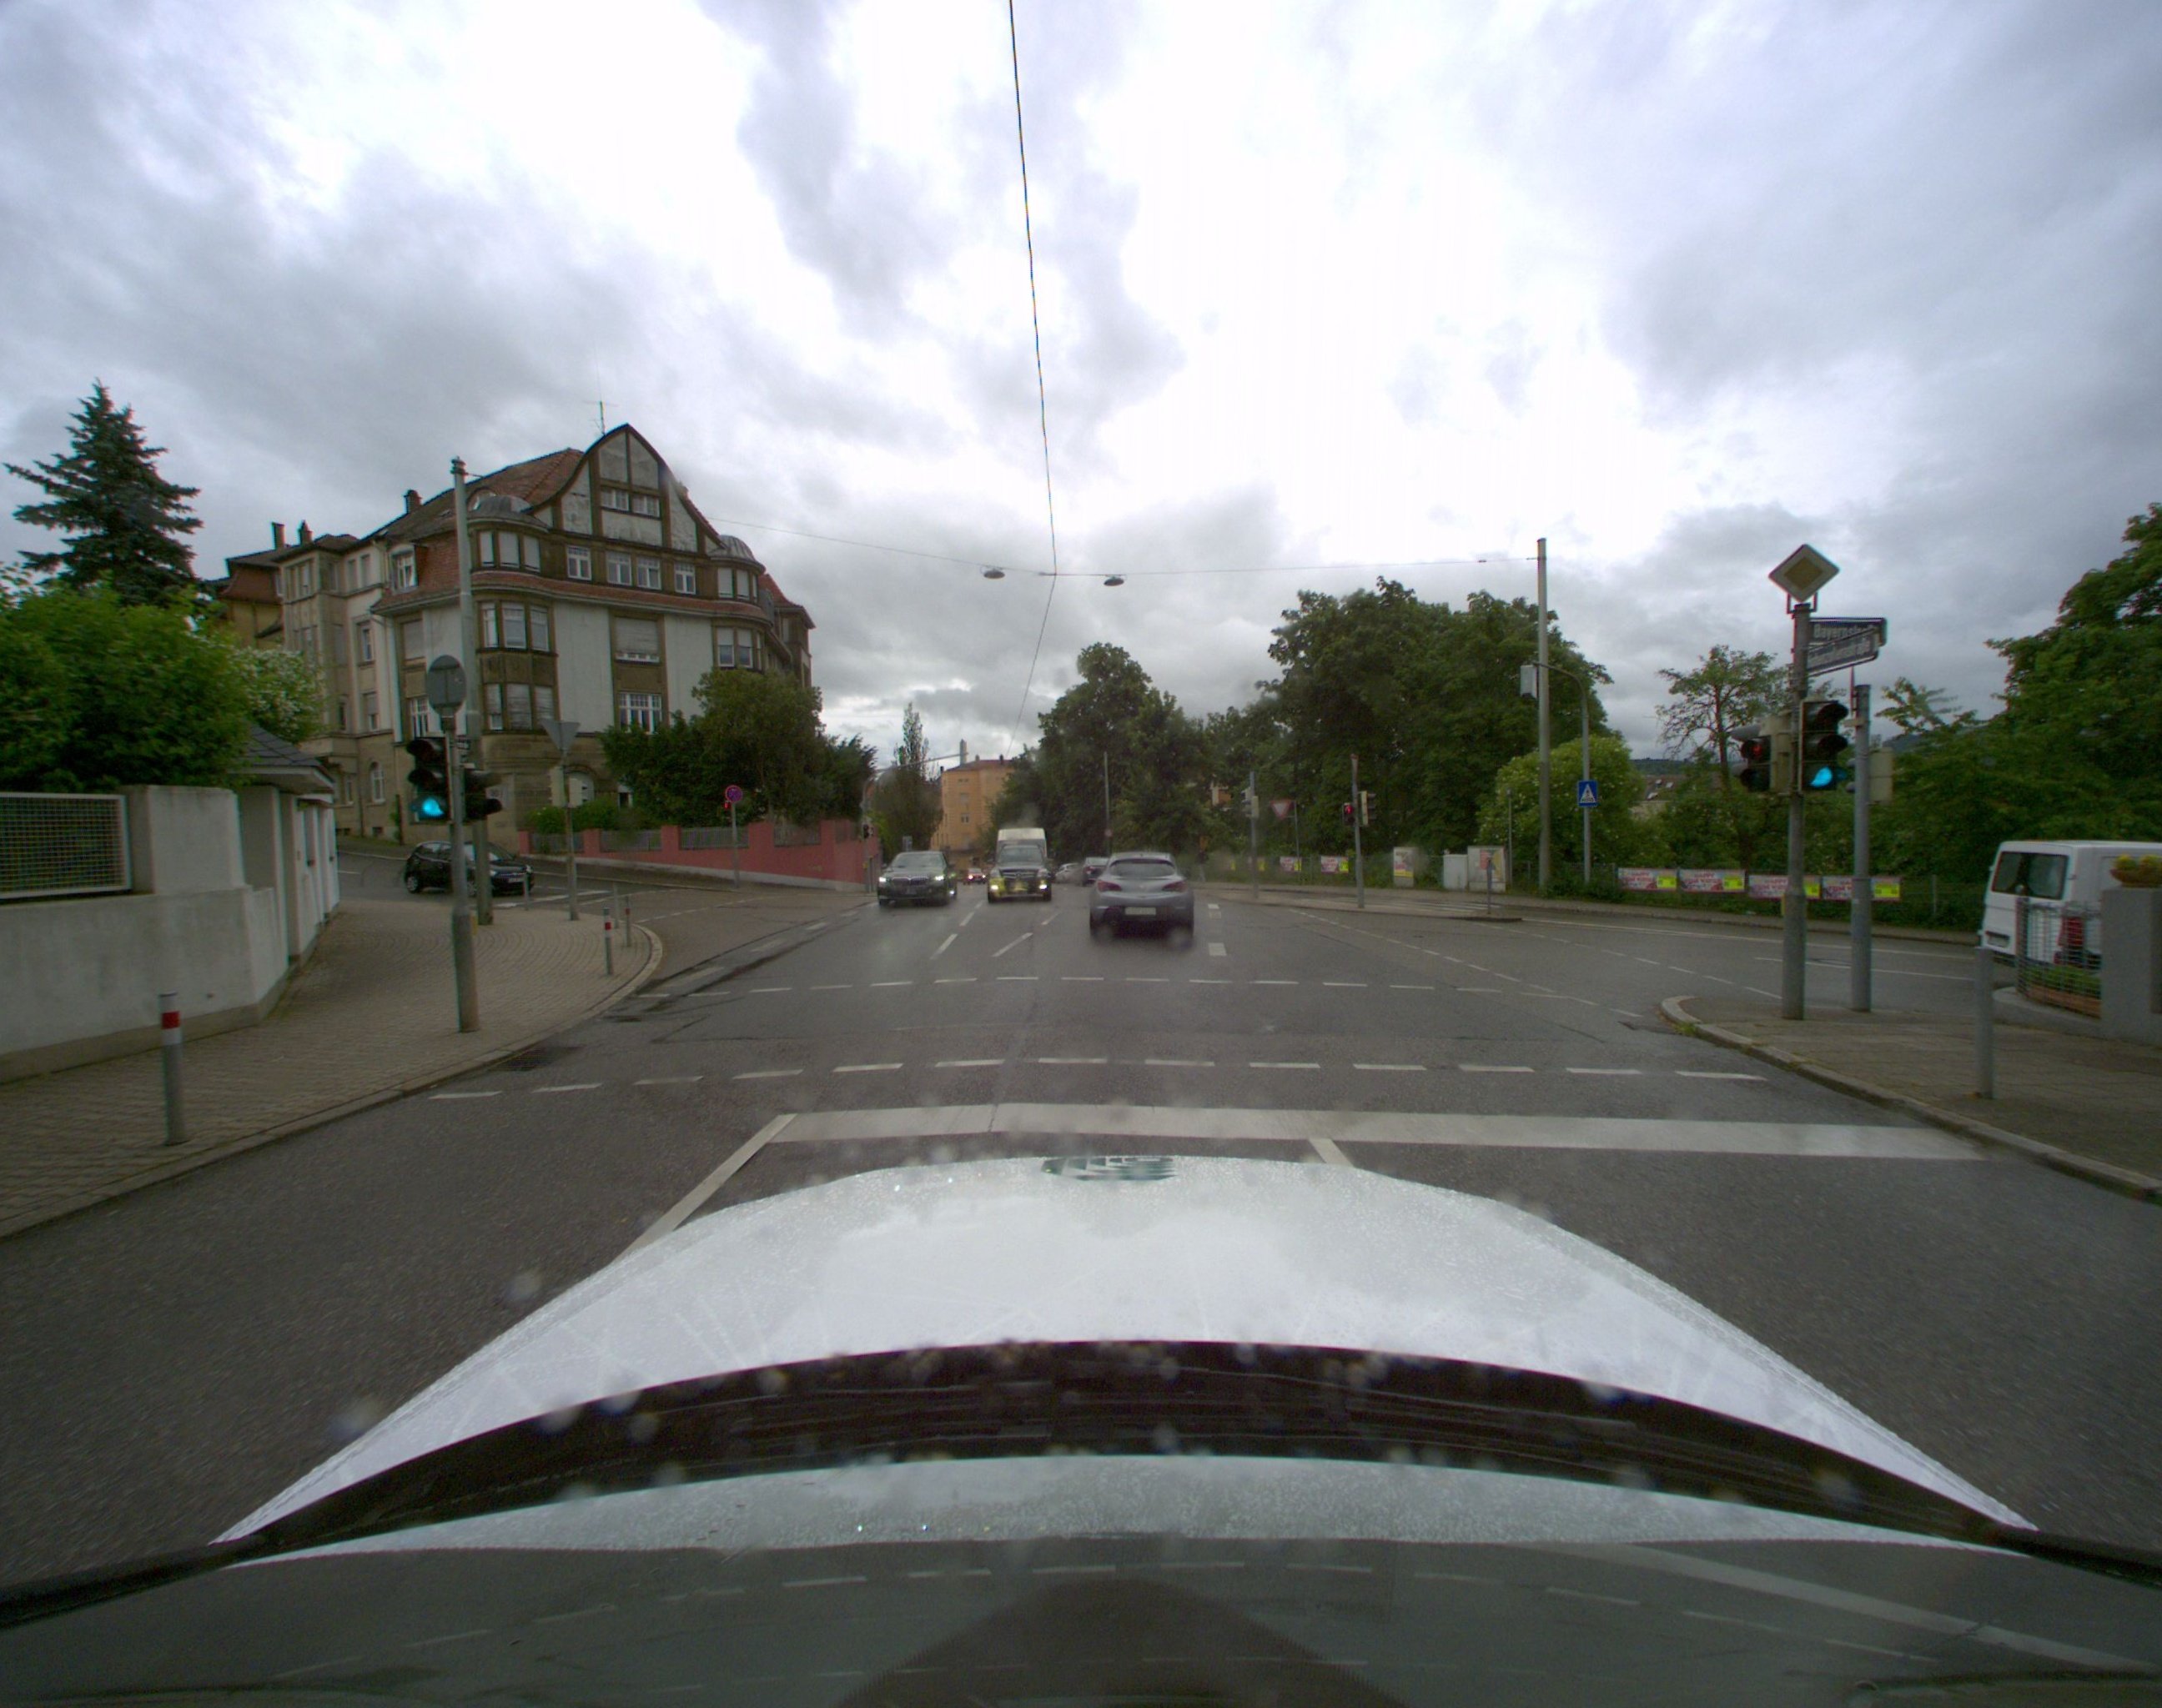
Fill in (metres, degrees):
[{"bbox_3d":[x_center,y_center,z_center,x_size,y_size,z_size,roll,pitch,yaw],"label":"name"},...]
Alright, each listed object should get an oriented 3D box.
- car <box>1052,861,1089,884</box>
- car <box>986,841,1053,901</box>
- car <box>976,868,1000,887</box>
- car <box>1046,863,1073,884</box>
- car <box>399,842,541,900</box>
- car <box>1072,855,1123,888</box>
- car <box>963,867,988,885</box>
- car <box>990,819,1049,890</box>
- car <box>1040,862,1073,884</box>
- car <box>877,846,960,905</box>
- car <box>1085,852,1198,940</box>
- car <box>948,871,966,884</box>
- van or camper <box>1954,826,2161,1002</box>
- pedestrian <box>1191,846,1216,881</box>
[{"bbox_3d":[-0.883,1.490,64.171,1.819,1.495,3.977,-7,-1,-16],"label":"car"},{"bbox_3d":[-1.798,0.469,24.657,1.817,1.652,4.341,-1,0,-3],"label":"car"},{"bbox_3d":[-9.470,2.365,82.641,1.645,1.689,3.694,-2,3,-19],"label":"car"},{"bbox_3d":[-1.608,1.418,58.748,1.383,1.412,3.443,-2,-1,-11],"label":"car"},{"bbox_3d":[-17.673,0.448,23.593,3.327,1.438,1.680,2,3,19],"label":"car"},{"bbox_3d":[0.736,0.865,38.528,1.775,1.430,3.774,-2,-2,-8],"label":"car"},{"bbox_3d":[-9.697,2.034,74.561,1.848,1.584,4.259,0,-2,-13],"label":"car"},{"bbox_3d":[-2.436,0.090,32.769,2.113,2.546,5.531,-2,-1,-4],"label":"car"},{"bbox_3d":[-2.153,1.635,69.699,1.824,1.683,4.780,-4,-1,-14],"label":"car"},{"bbox_3d":[-4.637,0.542,23.976,1.850,1.486,5.356,-2,0,-6],"label":"car"},{"bbox_3d":[1.018,0.708,15.575,1.809,1.430,3.999,-1,0,-1],"label":"car"},{"bbox_3d":[-15.245,2.866,99.910,1.643,1.536,3.696,-2,-1,-16],"label":"car"},{"bbox_3d":[16.462,0.905,11.368,5.352,2.325,2.122,3,2,23],"label":"van or camper"},{"bbox_3d":[5.776,0.446,38.473,0.766,1.605,0.962,-4,-1,-10],"label":"pedestrian"}]
